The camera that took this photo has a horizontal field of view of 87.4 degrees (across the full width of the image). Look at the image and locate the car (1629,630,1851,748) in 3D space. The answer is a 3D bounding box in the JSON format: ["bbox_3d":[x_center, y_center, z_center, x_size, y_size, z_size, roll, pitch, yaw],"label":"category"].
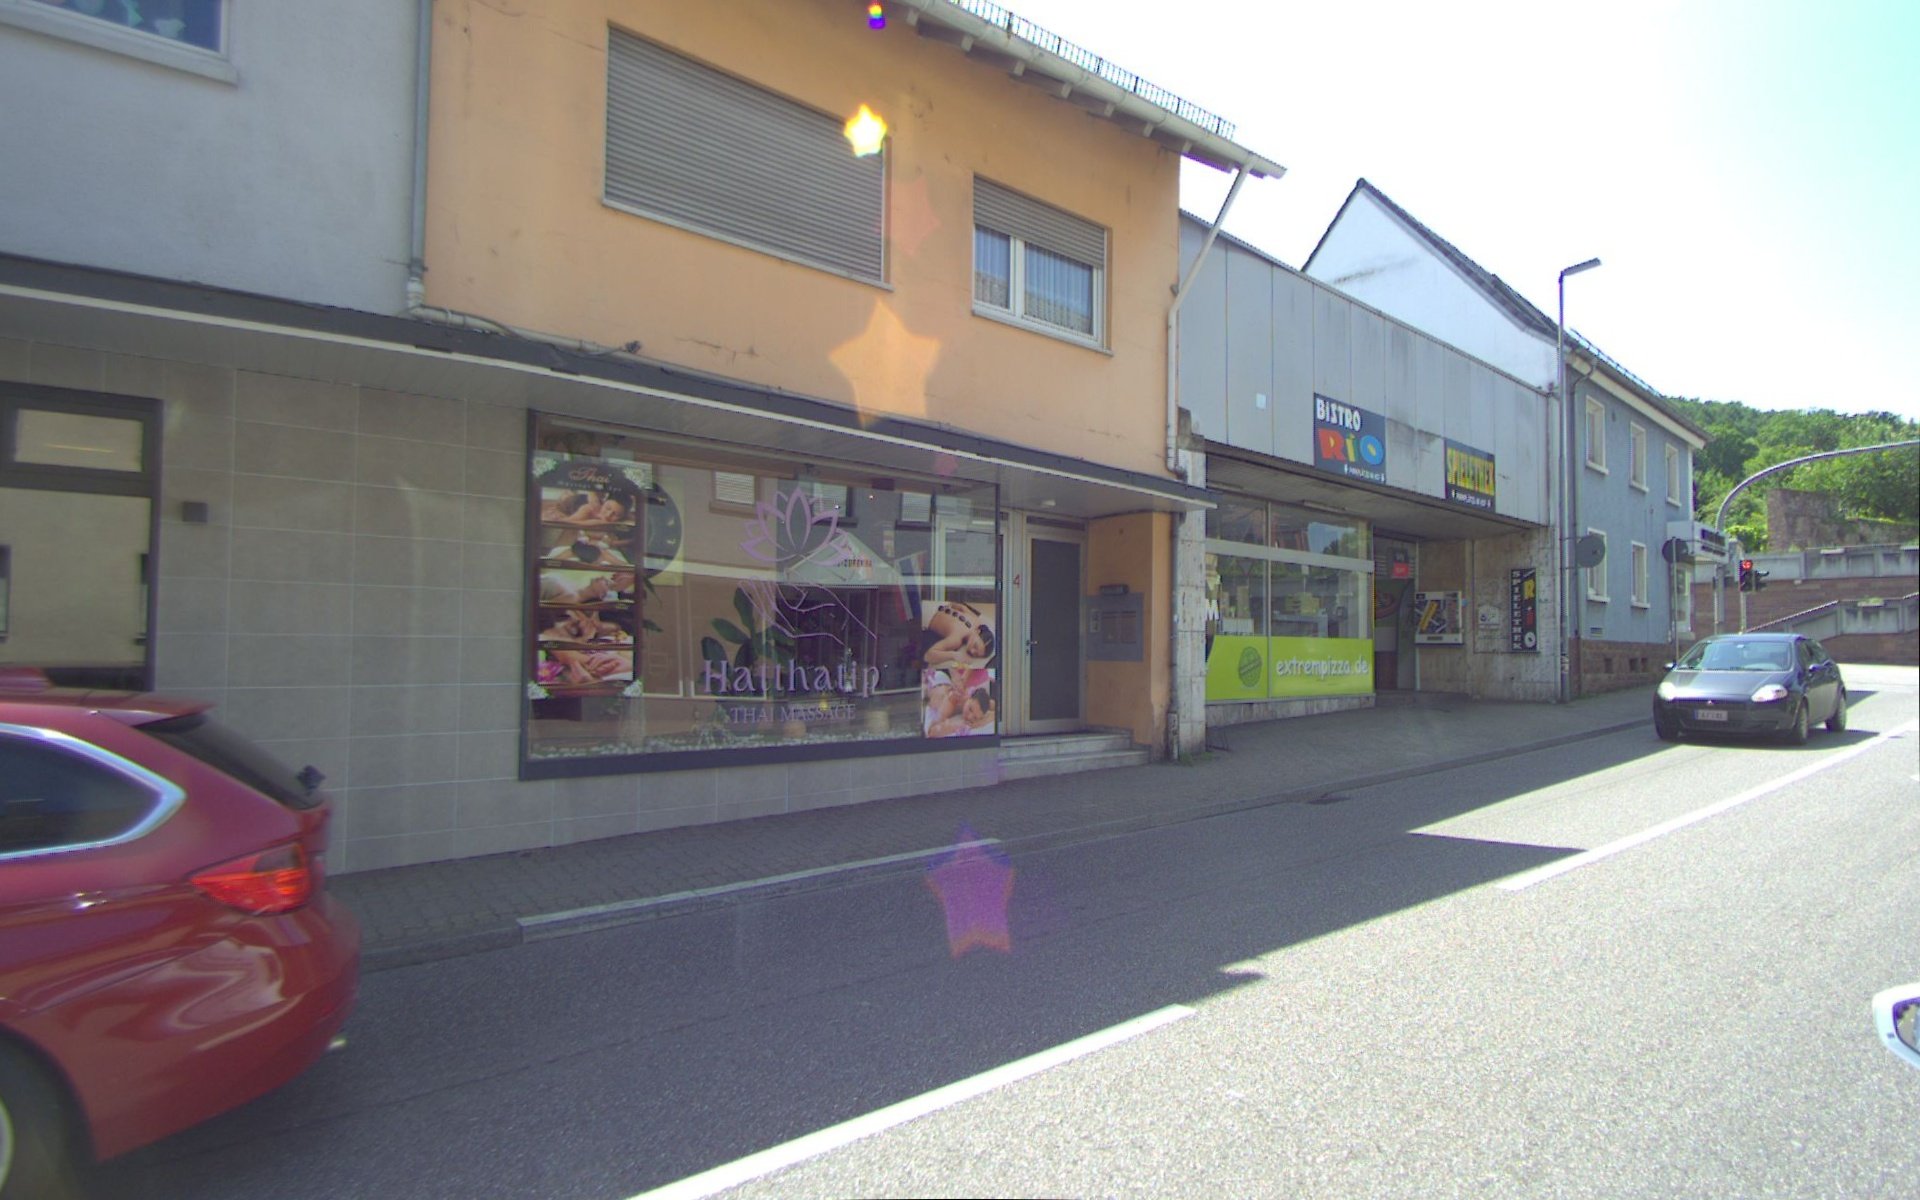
[{"bbox_3d":[11.424,1.209,14.645,3.787,1.441,1.704,0,-3,-39],"label":"car"}]

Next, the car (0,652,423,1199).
[{"bbox_3d":[-3.746,0.904,2.328,4.243,1.427,1.706,1,-4,-36],"label":"car"}]
